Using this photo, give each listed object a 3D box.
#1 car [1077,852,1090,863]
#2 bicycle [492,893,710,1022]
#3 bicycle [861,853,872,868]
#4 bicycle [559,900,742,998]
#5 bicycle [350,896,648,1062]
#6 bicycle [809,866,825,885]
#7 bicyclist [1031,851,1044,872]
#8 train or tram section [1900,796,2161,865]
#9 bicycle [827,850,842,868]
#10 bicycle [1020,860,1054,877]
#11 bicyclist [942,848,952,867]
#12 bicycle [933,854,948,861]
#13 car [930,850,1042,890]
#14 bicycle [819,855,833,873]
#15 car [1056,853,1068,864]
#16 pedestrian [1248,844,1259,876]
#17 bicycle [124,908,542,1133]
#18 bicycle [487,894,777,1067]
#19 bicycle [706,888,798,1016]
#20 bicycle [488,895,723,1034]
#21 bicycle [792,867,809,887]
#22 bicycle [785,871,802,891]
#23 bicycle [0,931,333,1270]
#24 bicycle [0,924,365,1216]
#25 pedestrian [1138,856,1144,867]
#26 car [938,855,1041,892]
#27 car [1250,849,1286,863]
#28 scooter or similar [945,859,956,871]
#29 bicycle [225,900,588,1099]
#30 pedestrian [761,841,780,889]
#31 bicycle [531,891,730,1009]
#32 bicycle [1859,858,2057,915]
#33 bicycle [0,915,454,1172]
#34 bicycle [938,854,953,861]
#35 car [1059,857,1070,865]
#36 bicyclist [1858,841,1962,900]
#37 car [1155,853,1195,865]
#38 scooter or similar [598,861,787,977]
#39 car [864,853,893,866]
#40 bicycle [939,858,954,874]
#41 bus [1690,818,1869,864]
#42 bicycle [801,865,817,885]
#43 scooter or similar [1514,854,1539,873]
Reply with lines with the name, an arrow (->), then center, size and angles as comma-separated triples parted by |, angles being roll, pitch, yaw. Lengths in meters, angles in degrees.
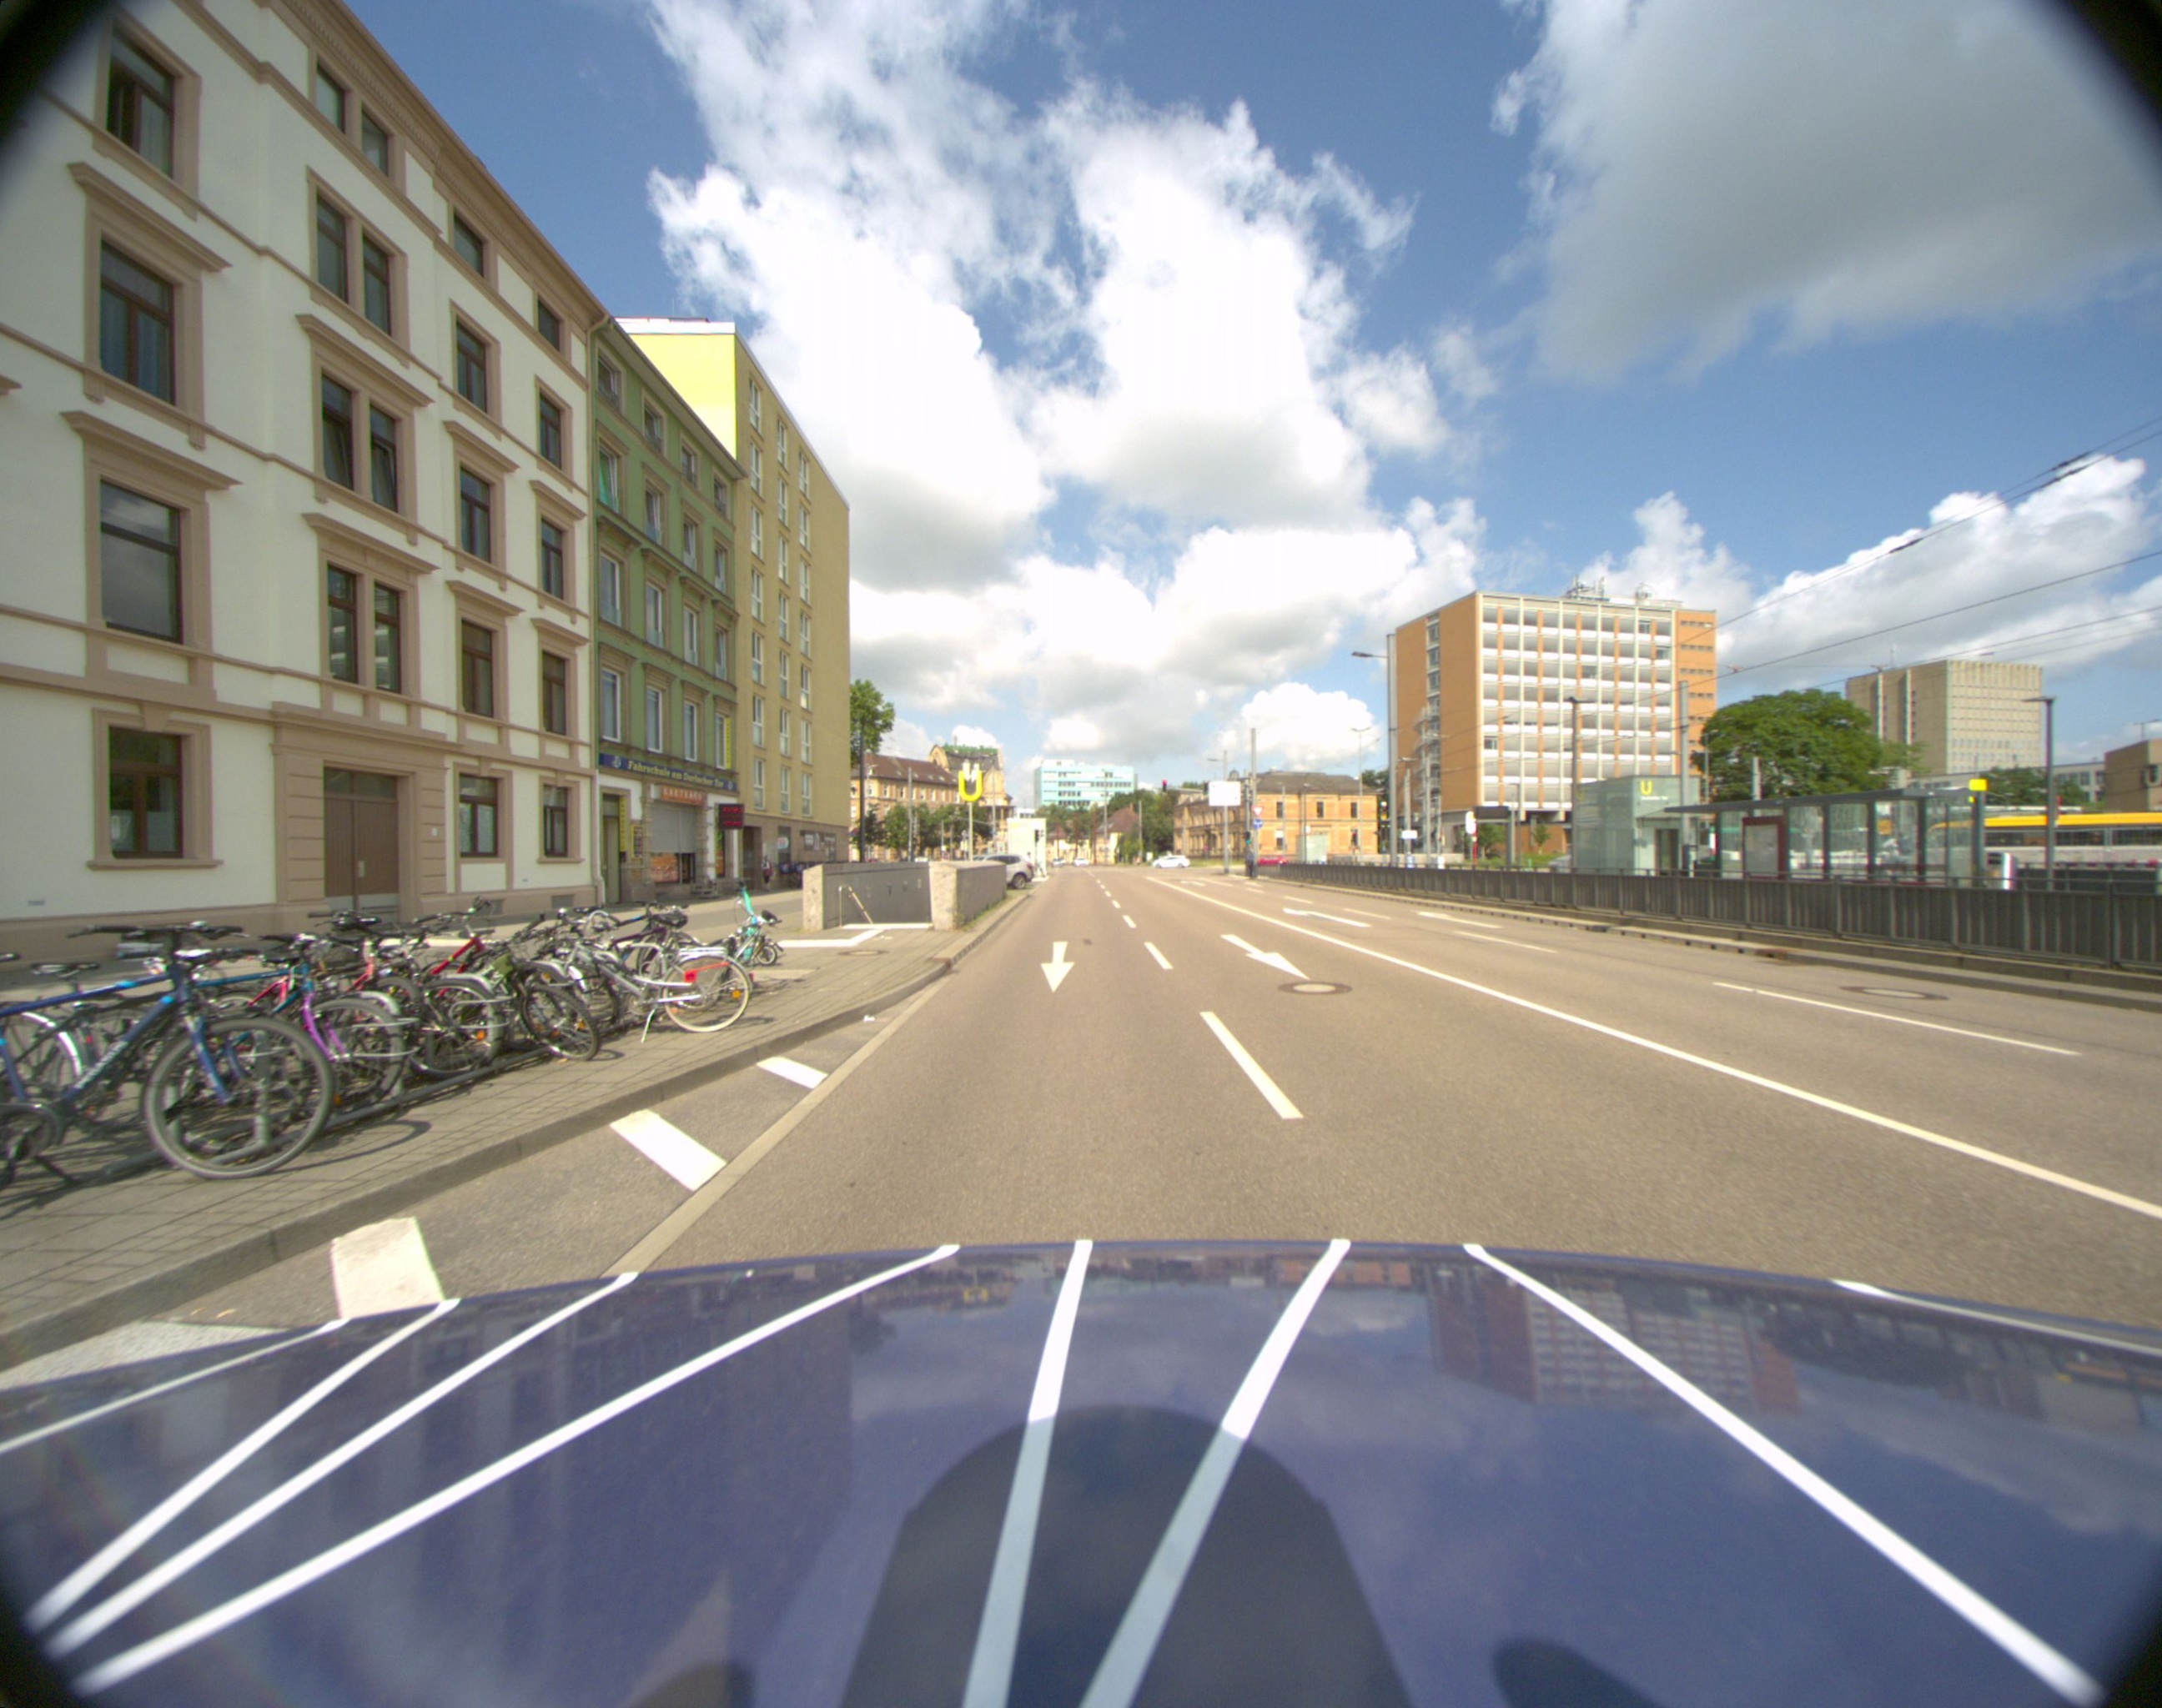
car -> 0.402, 0.531, 120.525 | 1.956, 1.586, 4.507 | -1, -2, -2
bicycle -> -4.795, 1.021, 7.628 | 1.929, 1.230, 0.441 | -1, -1, 2
bicycle -> -12.721, 0.386, 45.026 | 0.293, 0.878, 1.463 | -1, 1, -3
bicycle -> -5.054, 1.107, 8.965 | 1.929, 1.096, 0.441 | -1, -1, 2
bicycle -> -4.708, 0.984, 6.259 | 1.931, 1.230, 0.441 | 0, -2, -13
bicycle -> -13.397, 1.083, 38.538 | 0.293, 0.917, 1.465 | -1, -2, 0
bicyclist -> -2.858, 0.499, 49.489 | 0.783, 1.328, 0.395 | -1, -1, 5
train or tram section -> 56.248, -1.217, 44.772 | 10.579, 3.459, 3.332 | -3, -2, 44
bicycle -> -12.977, 0.255, 40.031 | 0.293, 0.917, 1.464 | 0, 0, 0
bicycle -> -2.869, 0.963, 49.484 | 2.098, 1.099, 0.545 | -1, -2, 5
bicyclist -> -10.067, 0.264, 57.044 | 0.655, 1.429, 0.743 | 0, 1, 0
bicycle -> -23.616, 0.562, 127.777 | 2.677, 1.159, 0.763 | 0, 1, 33
car -> -4.187, 0.680, 33.997 | 4.605, 1.637, 2.056 | -1, 1, -43
bicycle -> -12.872, 0.507, 38.355 | 0.293, 0.917, 1.464 | -1, -1, -3
car -> -3.141, 0.712, 124.721 | 1.838, 1.586, 4.001 | -1, -2, -2
pedestrian -> 10.933, 0.357, 48.082 | 0.503, 2.002, 0.515 | -1, 1, -12
bicycle -> -4.564, 0.982, 4.748 | 1.931, 1.230, 0.441 | 0, -1, -11
bicycle -> -3.473, 0.955, 6.021 | 1.931, 1.230, 0.441 | 0, -1, -12
bicycle -> -3.586, 1.003, 8.421 | 0.441, 1.230, 1.930 | -1, -2, -8
bicycle -> -4.387, 1.008, 7.065 | 1.929, 1.230, 0.441 | -1, -1, 2
bicycle -> -13.231, 1.092, 35.858 | 0.293, 0.917, 1.464 | -1, -1, -3
bicycle -> -13.548, 1.252, 35.849 | 0.293, 0.917, 1.464 | -1, -1, -3
bicycle -> -4.351, 0.965, 3.055 | 1.985, 1.230, 0.441 | 0, -1, -12
bicycle -> -4.642, 0.980, 3.585 | 1.930, 1.230, 0.441 | 0, -1, -8
pedestrian -> 8.485, 1.023, 108.034 | 0.543, 1.507, 0.744 | 0, 0, 40
car -> -4.443, 0.929, 37.253 | 4.608, 1.451, 1.934 | -4, 0, -40
car -> 22.053, 0.222, 89.426 | 4.057, 1.458, 1.649 | -1, -2, 14
scooter or similar -> -12.692, 1.084, 73.756 | 0.380, 1.189, 1.067 | -2, -2, 43
bicycle -> -4.606, 0.961, 5.296 | 1.931, 1.230, 0.441 | 0, -1, -11
pedestrian -> -13.234, 0.465, 32.364 | 0.603, 2.001, 0.460 | -1, -1, 0
bicycle -> -4.900, 1.037, 8.306 | 1.929, 1.230, 0.441 | -1, -1, 2
bicycle -> 24.322, 0.850, 21.273 | 1.196, 1.418, 3.692 | 0, 0, -2
bicycle -> -4.598, 0.975, 4.113 | 1.930, 1.230, 0.441 | -1, -1, -6
bicycle -> -23.001, 0.550, 128.742 | 2.678, 1.158, 0.763 | -2, -2, 33
car -> -4.614, 1.923, 206.026 | 2.001, 2.001, 3.996 | 0, -2, -16
bicyclist -> 24.279, 0.468, 22.298 | 1.181, 1.674, 1.684 | 0, 1, -2
car -> 11.459, 0.619, 92.731 | 4.665, 1.420, 1.766 | -1, -2, 17
scooter or similar -> -5.388, 0.892, 10.586 | 2.329, 1.536, 0.698 | -1, -1, 5
car -> -25.326, 0.676, 94.953 | 3.646, 1.461, 1.695 | -2, -2, 37
bicycle -> -10.065, 0.891, 57.021 | 0.663, 1.114, 2.332 | 0, 0, 0
bus -> 57.220, -1.025, 62.396 | 12.371, 3.599, 2.915 | -1, 0, -3
bicycle -> -12.774, 0.990, 35.661 | 0.293, 0.917, 1.464 | -1, -1, -3
scooter or similar -> 28.697, 0.608, 48.920 | 0.813, 1.160, 1.167 | 0, 0, -10
